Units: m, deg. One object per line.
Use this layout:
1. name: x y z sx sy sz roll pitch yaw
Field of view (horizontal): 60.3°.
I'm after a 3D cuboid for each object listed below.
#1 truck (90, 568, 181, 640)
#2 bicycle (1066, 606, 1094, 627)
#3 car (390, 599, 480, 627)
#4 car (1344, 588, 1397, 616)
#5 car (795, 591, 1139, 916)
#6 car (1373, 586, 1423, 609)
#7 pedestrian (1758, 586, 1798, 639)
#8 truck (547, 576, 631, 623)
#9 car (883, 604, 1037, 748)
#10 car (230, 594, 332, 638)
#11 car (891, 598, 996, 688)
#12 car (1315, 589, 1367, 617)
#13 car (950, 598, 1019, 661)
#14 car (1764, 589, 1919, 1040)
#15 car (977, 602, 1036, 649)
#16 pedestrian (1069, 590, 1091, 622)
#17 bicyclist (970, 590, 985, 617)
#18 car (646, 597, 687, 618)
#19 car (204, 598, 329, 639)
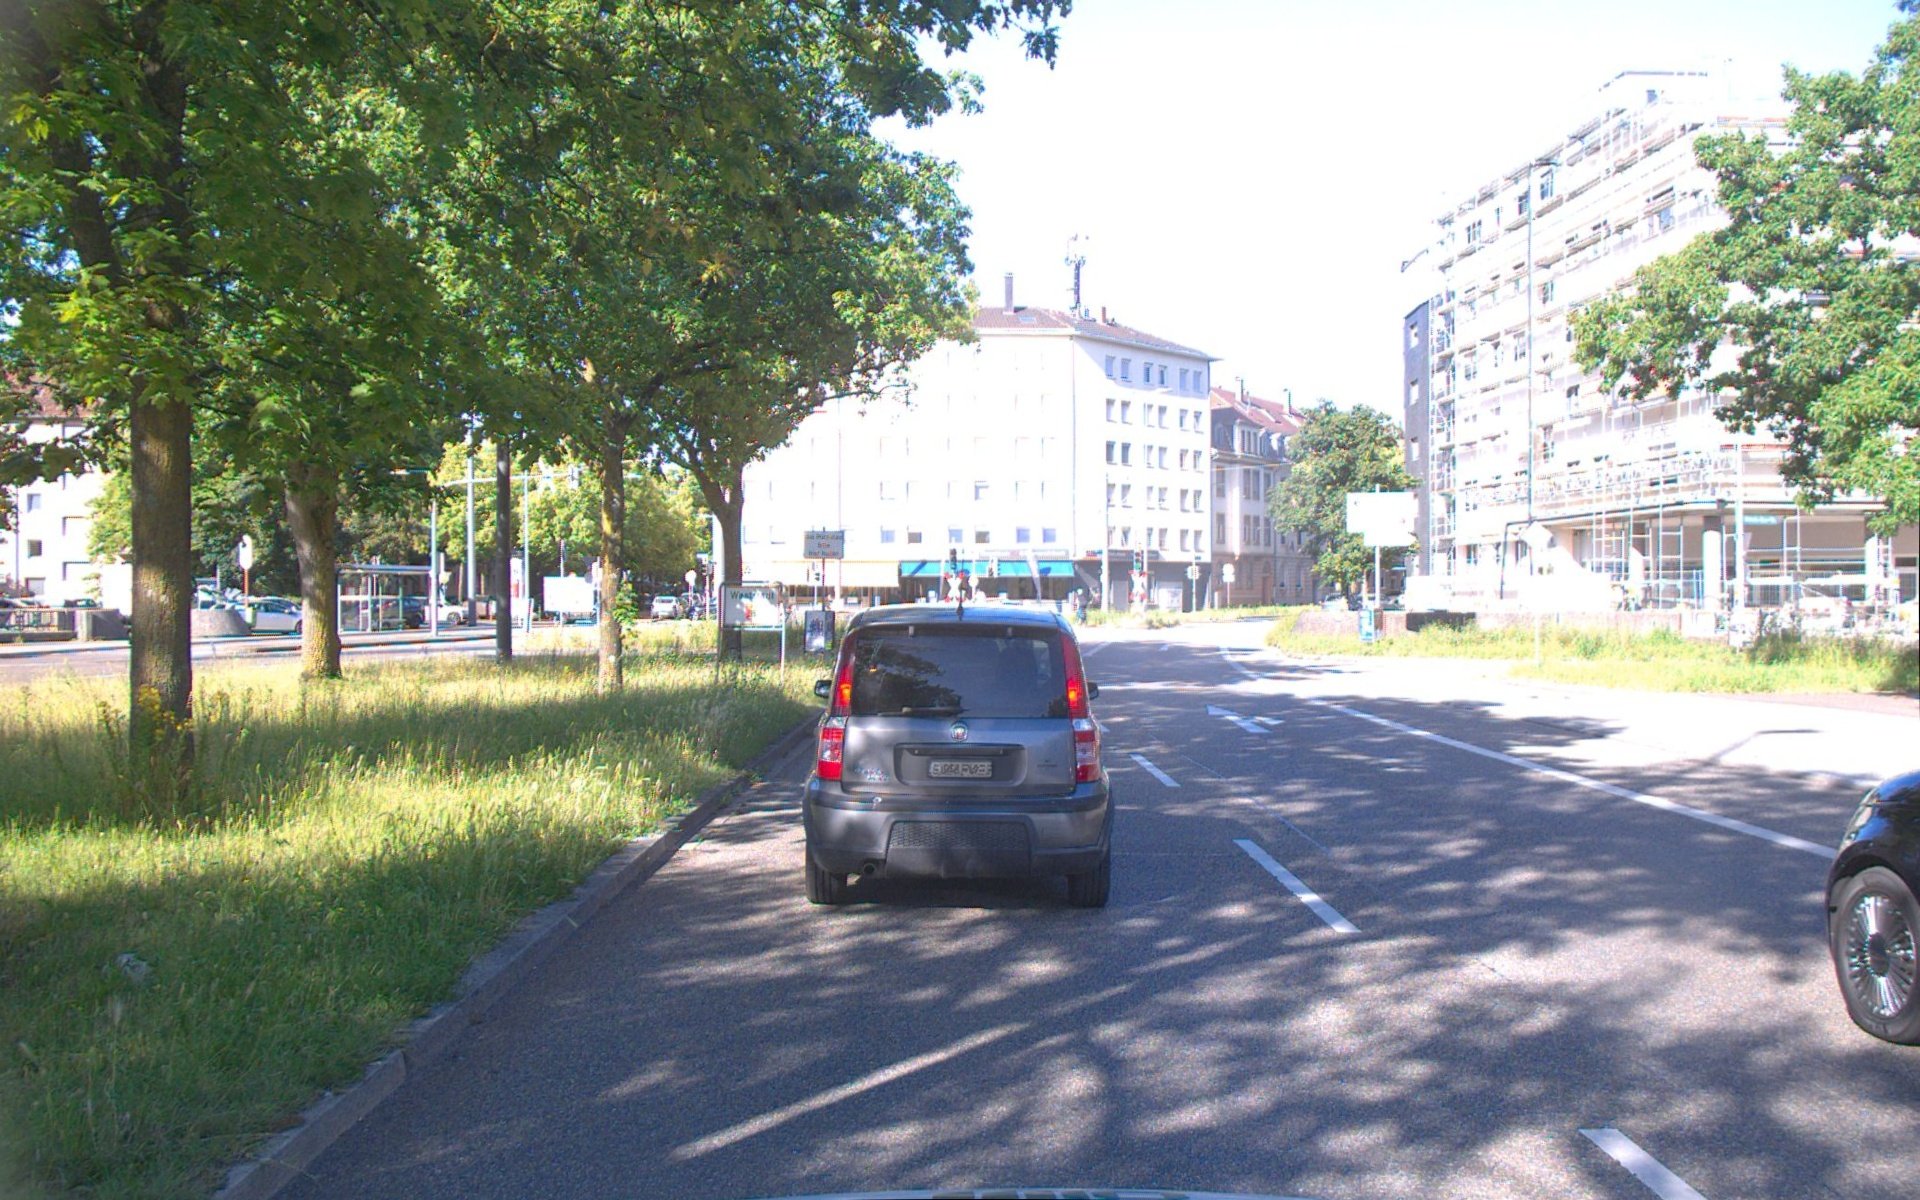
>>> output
1. truck: -35.989 0.147 72.143 4.742 3.047 1.988 1 1 42
2. bicycle: 5.594 0.772 76.968 0.769 0.968 1.849 1 -1 -14
3. car: -28.001 0.671 88.361 4.302 1.474 1.667 0 0 -5
4. car: 23.337 0.097 93.985 1.787 1.534 3.990 0 1 32
5. car: 0.057 0.724 9.494 1.625 1.536 3.252 0 0 1
6. car: 31.920 -0.200 120.622 1.872 1.621 3.986 0 0 -13
7. pedestrian: 23.659 0.362 47.824 0.637 1.523 0.907 0 0 -9
8. truck: -19.852 -0.028 88.521 4.009 2.469 1.795 0 0 8
9. car: -0.027 0.792 18.993 1.588 1.454 3.687 0 0 -1
10. car: -29.915 0.675 72.949 1.724 1.747 3.997 3 2 26
11. car: -0.368 0.725 30.364 1.725 1.512 4.291 0 0 -3
12. car: 20.707 0.151 89.817 1.742 1.468 3.610 1 1 31
13. car: 0.608 0.702 40.715 1.612 1.463 3.396 0 0 1
14. car: 4.112 0.727 4.857 1.641 1.529 3.560 0 0 -3
15. car: 1.439 0.757 50.427 1.655 1.275 3.628 -1 1 3
16. pedestrian: 5.592 0.288 77.042 0.760 1.452 0.935 1 -1 -14
17. bicyclist: 0.893 0.165 85.042 0.524 1.380 0.592 0 0 -29
18. car: -18.978 0.453 107.003 1.953 1.333 3.999 0 0 -1
19. car: -29.200 0.734 69.745 1.840 1.571 4.521 3 3 42
